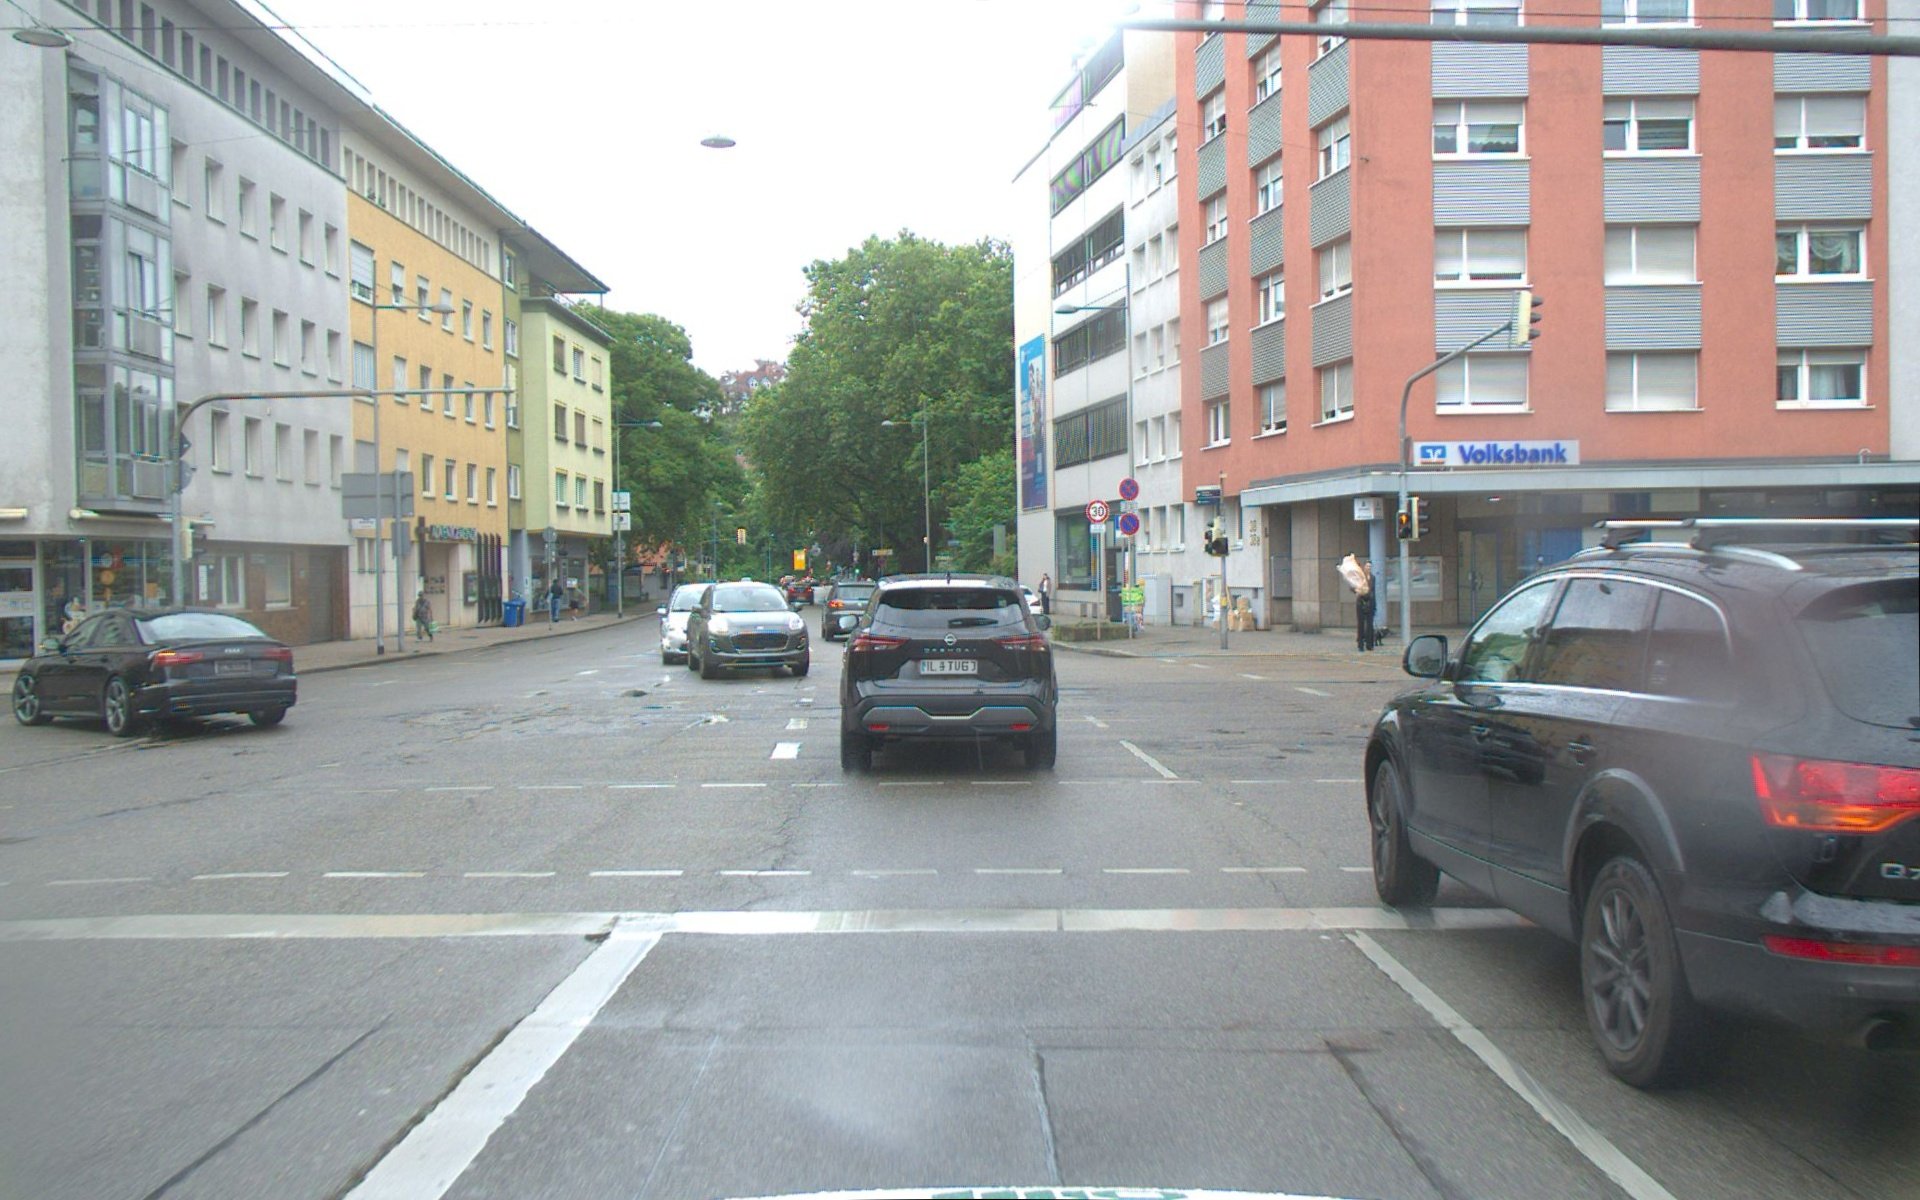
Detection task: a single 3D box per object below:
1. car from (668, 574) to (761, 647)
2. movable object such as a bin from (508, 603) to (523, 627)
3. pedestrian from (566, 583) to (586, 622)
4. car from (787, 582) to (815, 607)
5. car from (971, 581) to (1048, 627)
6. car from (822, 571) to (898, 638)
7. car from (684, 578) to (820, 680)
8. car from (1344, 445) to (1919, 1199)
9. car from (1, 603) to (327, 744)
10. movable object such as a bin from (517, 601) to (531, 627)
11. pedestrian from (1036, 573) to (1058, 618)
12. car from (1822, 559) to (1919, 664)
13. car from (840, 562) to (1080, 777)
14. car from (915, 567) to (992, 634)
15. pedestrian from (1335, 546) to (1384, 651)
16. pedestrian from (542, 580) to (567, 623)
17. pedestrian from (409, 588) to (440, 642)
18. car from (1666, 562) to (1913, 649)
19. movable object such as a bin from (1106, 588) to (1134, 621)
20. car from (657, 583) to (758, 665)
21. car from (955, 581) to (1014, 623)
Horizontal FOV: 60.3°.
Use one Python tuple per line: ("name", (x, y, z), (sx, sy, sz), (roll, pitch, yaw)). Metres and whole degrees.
("car", (-5.928, 0.251, 40.356), (1.784, 1.636, 4.428), (-1, 0, -3))
("movable object such as a bin", (-17.286, 0.581, 64.281), (0.444, 0.945, 0.502), (-1, 1, 0))
("pedestrian", (-17.071, 0.089, 73.491), (0.783, 1.718, 0.816), (-1, 0, -8))
("car", (-10.764, -0.388, 111.754), (1.786, 1.640, 3.860), (1, 1, -7))
("car", (1.653, 0.103, 56.756), (1.742, 1.425, 4.569), (-3, 1, -10))
("car", (-2.864, 0.112, 46.722), (1.908, 1.714, 3.995), (-3, 0, -6))
("car", (-3.657, 0.462, 28.505), (1.825, 1.580, 4.211), (-1, 0, -14))
("car", (3.100, 0.531, 6.582), (1.980, 1.902, 4.899), (0, 1, 0))
("car", (-9.635, 0.790, 19.874), (4.420, 1.412, 1.988), (0, 2, 42))
("movable object such as a bin", (-17.508, 0.551, 66.427), (0.391, 1.024, 0.545), (-1, 1, 0))
("pedestrian", (3.427, -0.175, 65.317), (0.602, 1.767, 0.679), (-3, 0, -14))
("car", (15.721, 0.100, 24.846), (4.558, 1.512, 1.919), (-1, 0, -3))
("car", (-0.128, 0.535, 14.828), (1.857, 1.657, 3.997), (0, 0, -4))
("car", (-0.238, 0.020, 49.793), (1.908, 1.848, 3.996), (-3, 0, -5))
("pedestrian", (8.429, -0.040, 34.960), (0.808, 2.196, 0.769), (1, 1, -1))
("pedestrian", (-17.321, 0.058, 70.655), (0.848, 1.819, 0.875), (2, 0, -1))
("pedestrian", (-16.145, 0.450, 49.895), (0.673, 1.609, 0.652), (1, 0, 0))
("car", (15.857, 0.095, 31.735), (3.866, 1.512, 1.702), (-1, 0, -1))
("movable object such as a bin", (5.316, 0.152, 55.027), (0.700, 1.087, 0.781), (-1, 1, -14))
("car", (-5.179, 0.476, 34.322), (1.897, 1.553, 4.128), (-1, 0, -7))
("car", (0.900, 0.057, 63.205), (1.682, 1.467, 4.076), (-3, 1, -6))
